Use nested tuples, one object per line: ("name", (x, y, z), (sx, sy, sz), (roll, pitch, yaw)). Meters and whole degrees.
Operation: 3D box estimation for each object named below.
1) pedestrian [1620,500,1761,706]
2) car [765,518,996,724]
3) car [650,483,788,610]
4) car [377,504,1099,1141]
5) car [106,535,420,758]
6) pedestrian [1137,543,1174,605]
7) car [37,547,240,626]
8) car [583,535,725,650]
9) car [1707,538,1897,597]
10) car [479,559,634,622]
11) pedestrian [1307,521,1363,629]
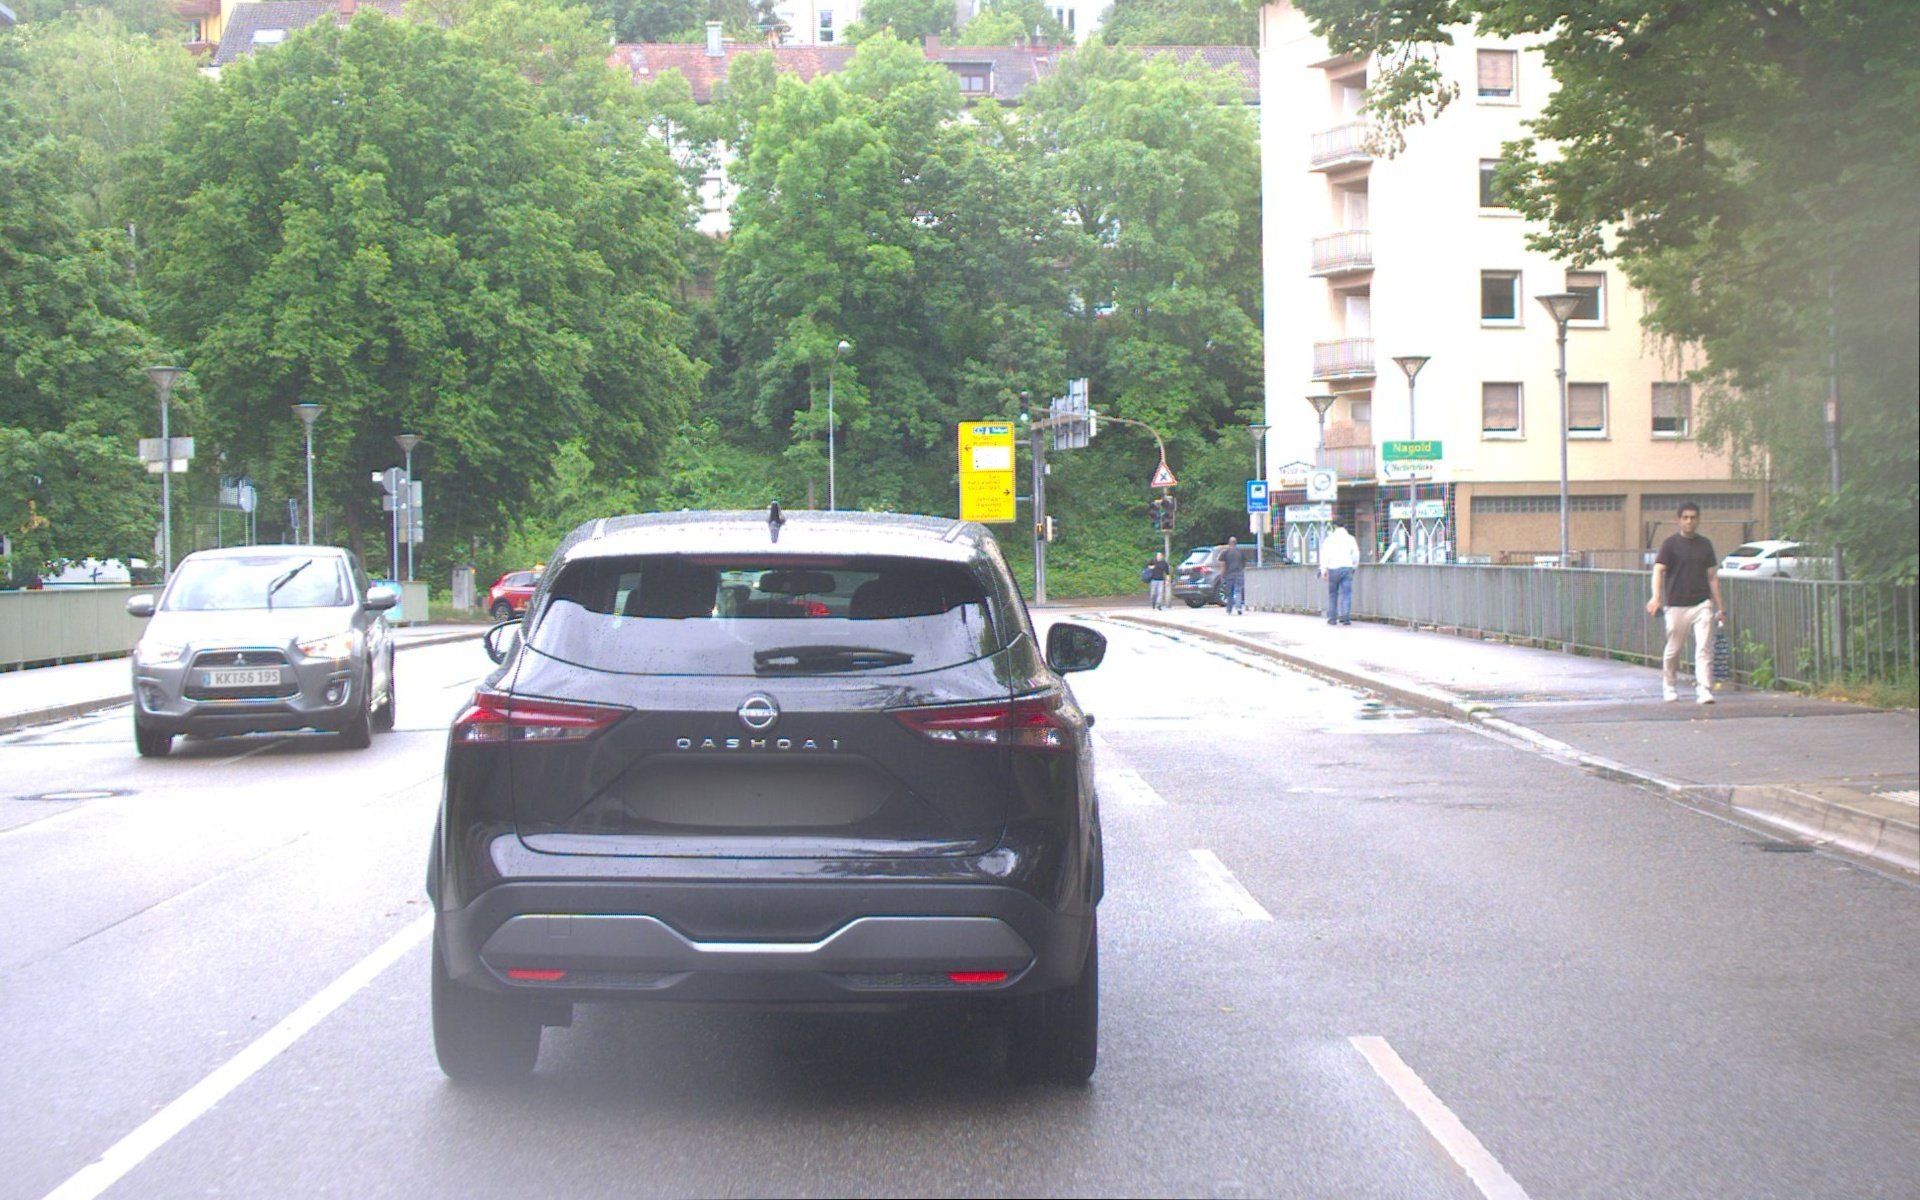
("pedestrian", (6.158, 0.018, 29.023), (0.847, 1.670, 1.168), (-3, 0, -1))
("car", (-0.655, 0.129, 29.186), (1.811, 1.597, 4.000), (1, 1, -1))
("car", (-4.674, -1.084, 67.618), (2.289, 2.300, 6.510), (-2, 2, -1))
("car", (-0.586, 0.526, 10.687), (1.811, 1.597, 4.000), (0, 1, -1))
("car", (-5.505, 0.306, 27.633), (1.813, 1.573, 4.232), (-2, 2, -3))
("pedestrian", (5.191, -0.682, 91.292), (0.862, 1.613, 0.839), (-2, 0, 0))
("car", (-20.364, -0.359, 85.401), (4.741, 1.848, 2.001), (-1, 2, -9))
("car", (-4.248, -0.141, 48.250), (1.781, 1.469, 4.167), (-2, 2, -3))
("car", (21.634, -0.846, 88.356), (4.438, 1.371, 1.818), (-1, 3, -17))
("car", (-11.951, -0.270, 101.837), (4.365, 1.729, 1.891), (-1, 1, 35))
("pedestrian", (6.191, -0.414, 56.791), (0.779, 1.746, 1.061), (-1, 0, -1))
